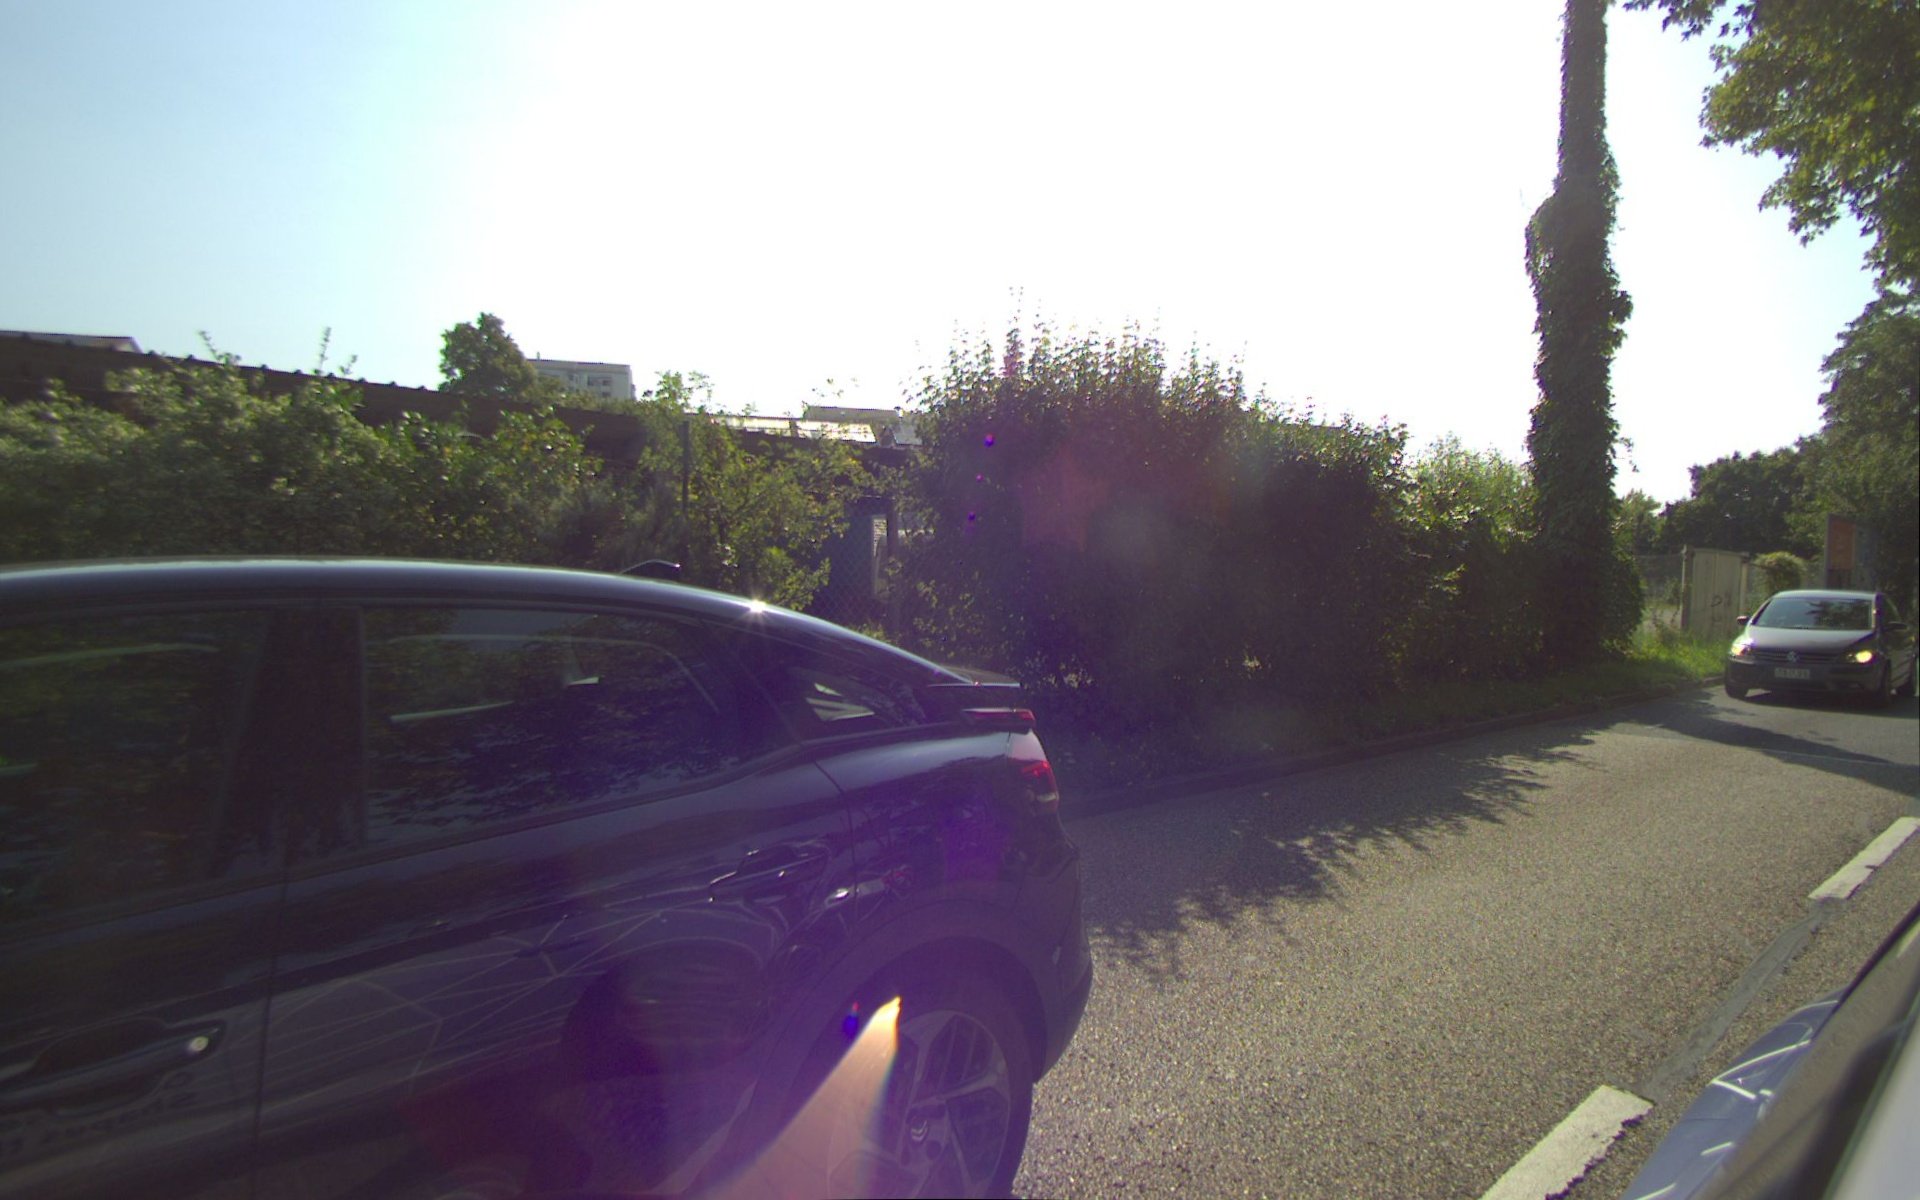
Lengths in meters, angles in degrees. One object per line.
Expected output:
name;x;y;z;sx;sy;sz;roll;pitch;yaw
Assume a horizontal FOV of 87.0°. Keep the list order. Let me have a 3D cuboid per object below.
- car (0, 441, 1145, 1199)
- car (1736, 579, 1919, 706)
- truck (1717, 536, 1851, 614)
car;-1.690;0.596;1.692;4.180;1.607;1.649;-1;3;-40
car;12.810;0.501;14.695;3.830;1.576;1.649;-1;2;-40
truck;26.381;-0.781;32.291;6.788;2.260;1.919;-1;1;-39
